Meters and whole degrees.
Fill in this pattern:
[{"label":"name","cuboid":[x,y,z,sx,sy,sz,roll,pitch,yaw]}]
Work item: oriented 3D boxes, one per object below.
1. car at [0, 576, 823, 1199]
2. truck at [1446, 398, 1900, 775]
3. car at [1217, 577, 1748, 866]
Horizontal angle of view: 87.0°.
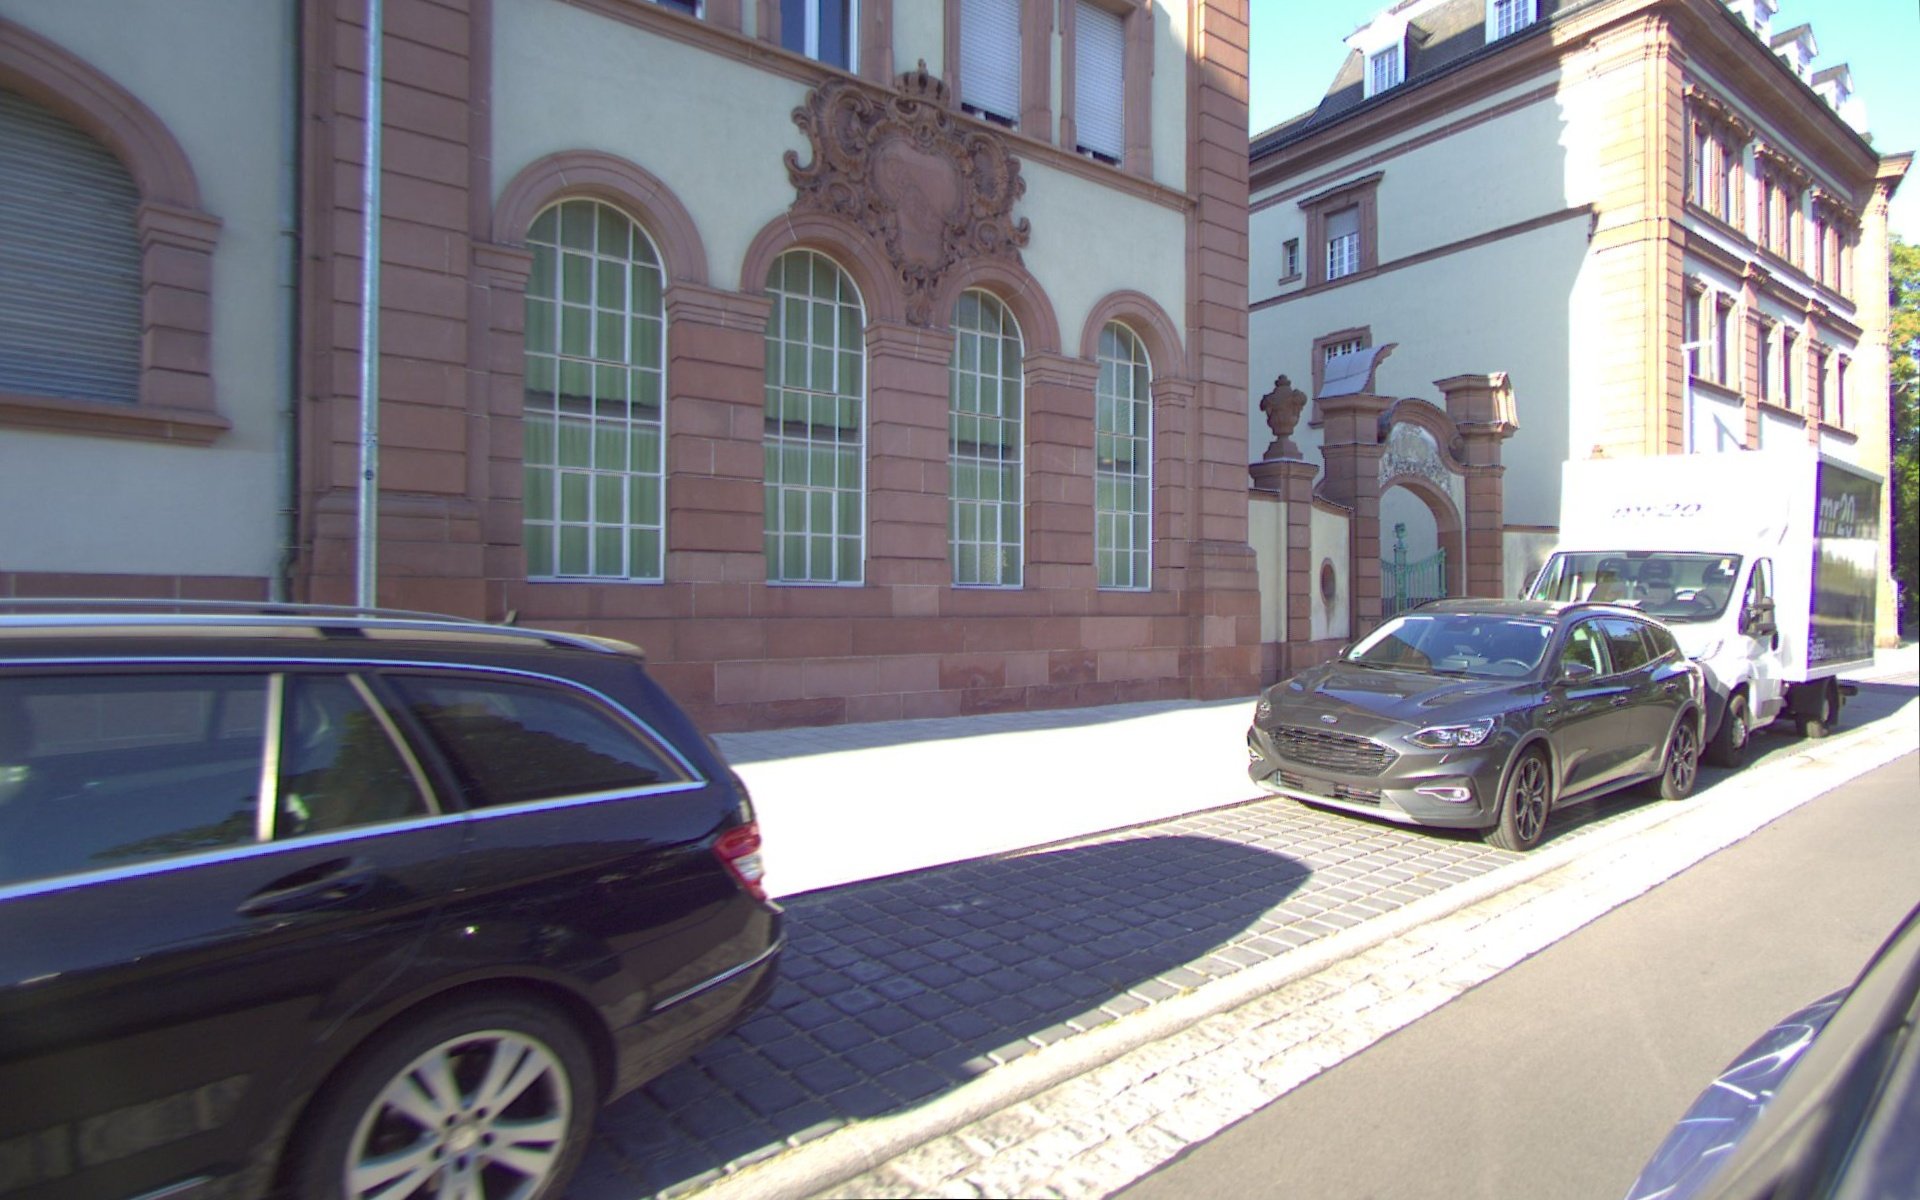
[{"label":"car","cuboid":[-2.660,0.687,2.028,4.445,1.454,1.874,0,2,-42]},{"label":"truck","cuboid":[8.222,-0.150,11.401,5.978,3.159,2.630,0,2,-40]},{"label":"car","cuboid":[4.096,0.657,7.601,4.487,1.549,1.774,0,2,-37]}]
